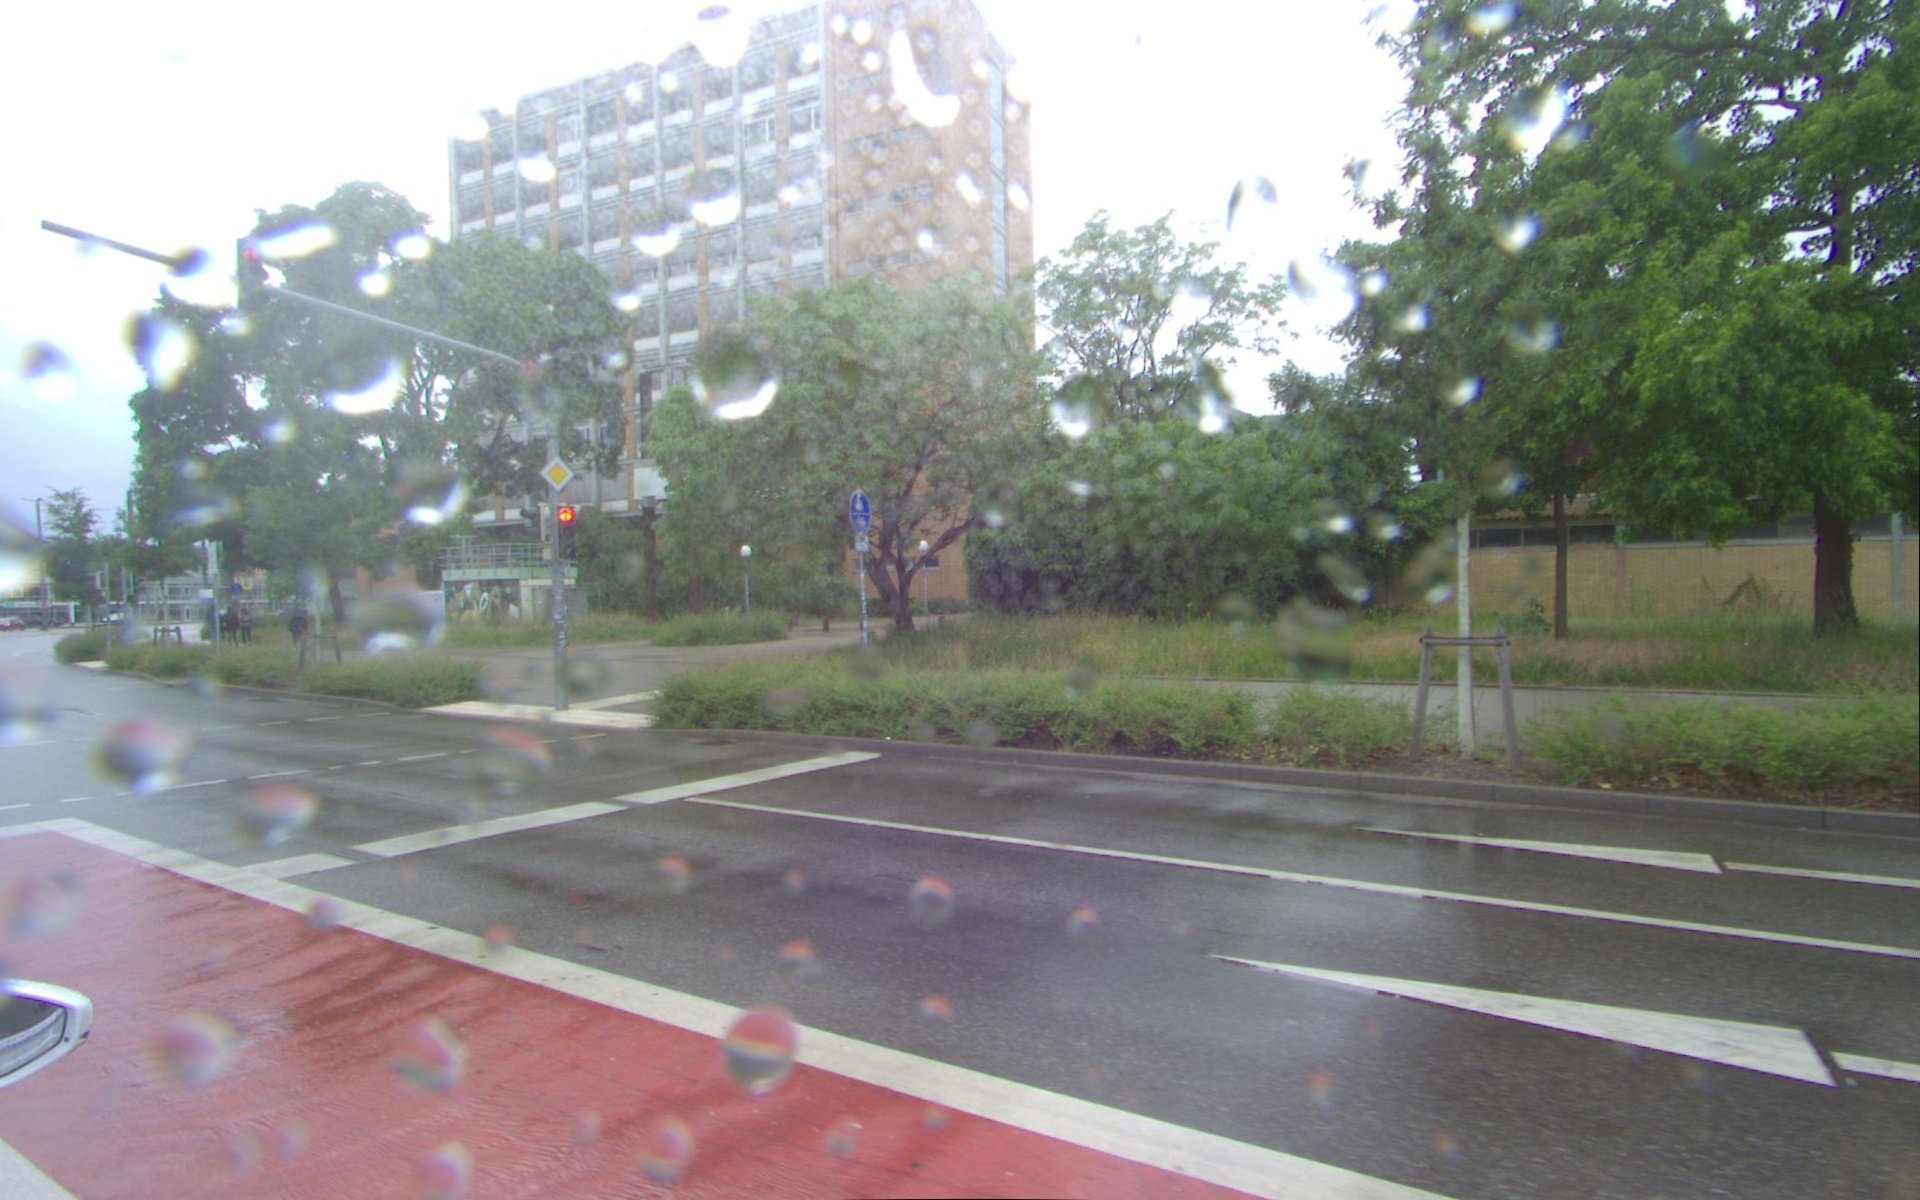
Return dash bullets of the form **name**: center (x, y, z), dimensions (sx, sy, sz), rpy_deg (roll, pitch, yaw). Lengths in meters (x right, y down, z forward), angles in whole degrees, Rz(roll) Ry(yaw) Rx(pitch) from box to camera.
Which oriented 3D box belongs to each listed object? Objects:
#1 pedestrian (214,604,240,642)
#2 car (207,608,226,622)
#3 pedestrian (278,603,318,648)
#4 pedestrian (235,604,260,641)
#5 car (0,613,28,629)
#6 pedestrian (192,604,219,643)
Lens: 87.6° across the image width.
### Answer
- **pedestrian**: center (-31.697, 0.983, 43.310), dimensions (0.926, 1.609, 0.699), rpy_deg (0, 1, 43)
- **car**: center (-92.317, 1.804, 124.383), dimensions (1.773, 1.665, 4.130), rpy_deg (-1, 0, -35)
- **pedestrian**: center (-24.254, 0.933, 36.701), dimensions (0.926, 1.609, 1.017), rpy_deg (0, 1, 43)
- **pedestrian**: center (-31.327, 0.972, 44.017), dimensions (0.926, 1.609, 0.699), rpy_deg (0, 1, 43)
- **car**: center (-99.503, 2.188, 104.972), dimensions (1.771, 1.665, 4.023), rpy_deg (-1, 0, -31)
- **pedestrian**: center (-32.252, 0.997, 42.779), dimensions (0.926, 1.609, 0.749), rpy_deg (0, 1, 43)
